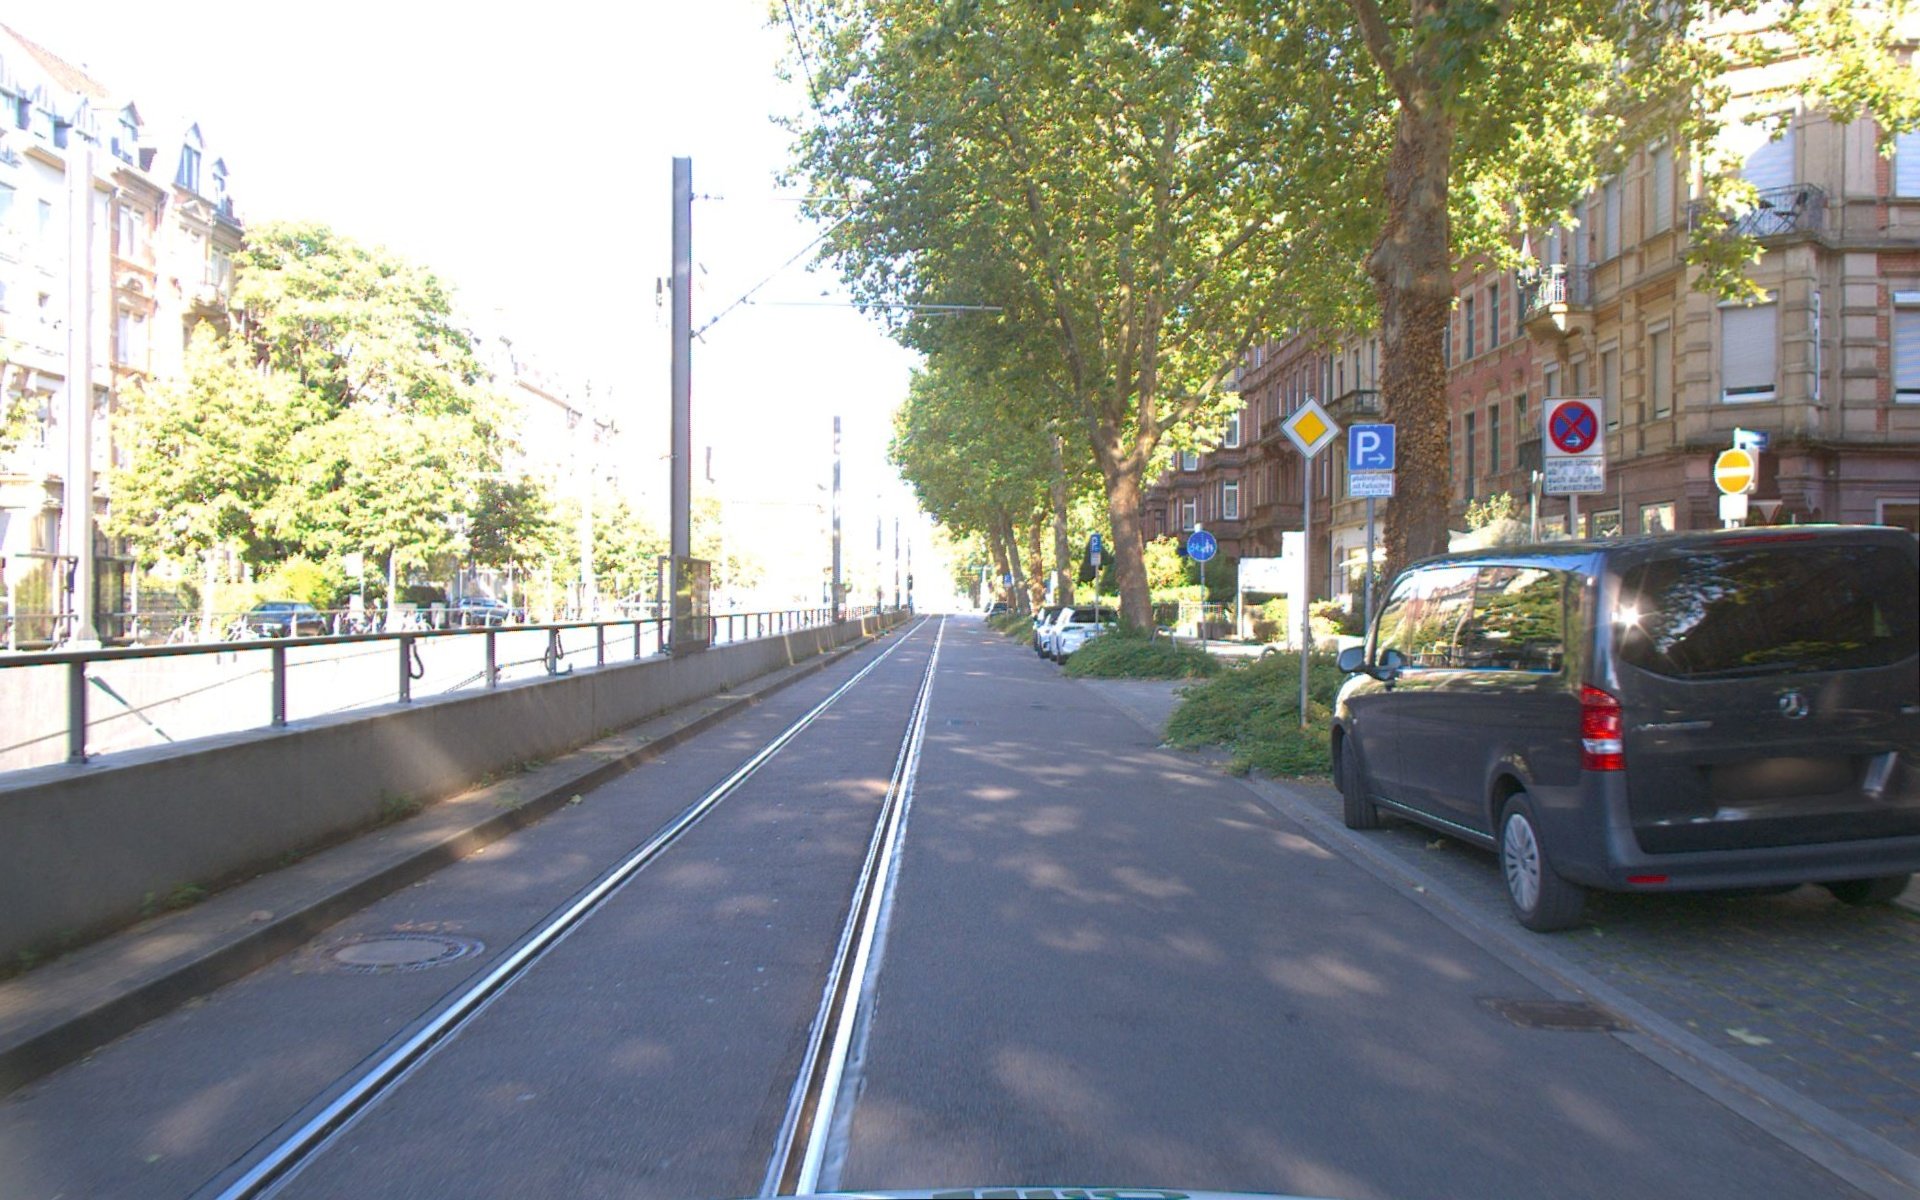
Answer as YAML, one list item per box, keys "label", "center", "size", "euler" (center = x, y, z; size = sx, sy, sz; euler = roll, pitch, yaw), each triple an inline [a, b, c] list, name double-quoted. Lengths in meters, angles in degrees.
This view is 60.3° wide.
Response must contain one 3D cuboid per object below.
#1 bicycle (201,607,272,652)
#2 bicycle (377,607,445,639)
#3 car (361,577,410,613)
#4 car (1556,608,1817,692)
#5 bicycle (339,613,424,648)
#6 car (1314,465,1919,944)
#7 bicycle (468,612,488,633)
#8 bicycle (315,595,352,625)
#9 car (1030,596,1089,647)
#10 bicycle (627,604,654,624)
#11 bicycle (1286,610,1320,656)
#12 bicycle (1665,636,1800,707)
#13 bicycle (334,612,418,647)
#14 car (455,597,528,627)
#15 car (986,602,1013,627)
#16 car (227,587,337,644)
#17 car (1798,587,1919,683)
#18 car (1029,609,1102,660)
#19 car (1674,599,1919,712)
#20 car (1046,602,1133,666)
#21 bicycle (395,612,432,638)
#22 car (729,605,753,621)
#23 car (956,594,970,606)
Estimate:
- label: "bicycle"
  center: [-20.865, 0.854, 47.713]
  size: [1.771, 1.199, 0.562]
  euler: [3, 0, 2]
- label: "bicycle"
  center: [-21.065, 0.874, 63.481]
  size: [2.344, 1.117, 0.551]
  euler: [3, 0, -31]
- label: "car"
  center: [-31.912, -0.285, 92.007]
  size: [1.959, 1.881, 4.467]
  euler: [3, 0, -12]
- label: "car"
  center: [12.950, 0.878, 29.614]
  size: [3.908, 1.388, 1.742]
  euler: [0, 1, -4]
- label: "bicycle"
  center: [-20.617, 1.094, 59.015]
  size: [2.752, 1.117, 0.635]
  euler: [3, 0, -34]
- label: "car"
  center: [3.688, 0.426, 9.730]
  size: [1.953, 2.049, 5.200]
  euler: [0, 0, -2]
- label: "bicycle"
  center: [-24.467, 1.151, 83.964]
  size: [0.449, 1.023, 1.923]
  euler: [3, -3, -31]
- label: "bicycle"
  center: [-24.524, 0.391, 64.782]
  size: [0.544, 1.117, 2.375]
  euler: [3, 0, -1]
- label: "car"
  center: [3.216, 0.683, 54.250]
  size: [1.696, 1.563, 4.805]
  euler: [1, 0, 1]
- label: "bicycle"
  center: [-21.374, 0.938, 110.725]
  size: [1.694, 1.302, 0.600]
  euler: [0, -1, 5]
- label: "bicycle"
  center: [9.057, 0.855, 43.692]
  size: [0.465, 1.163, 1.896]
  euler: [-2, 0, -1]
- label: "bicycle"
  center: [10.587, 0.971, 22.664]
  size: [1.661, 0.933, 0.601]
  euler: [0, 0, -12]
- label: "bicycle"
  center: [-21.017, 1.073, 59.574]
  size: [2.752, 1.117, 0.635]
  euler: [3, 0, -34]
- label: "car"
  center: [-27.616, 0.713, 97.579]
  size: [3.914, 1.653, 1.821]
  euler: [2, 0, -10]
- label: "car"
  center: [2.655, 0.955, 111.757]
  size: [1.583, 1.615, 4.416]
  euler: [-1, 0, -1]
- label: "car"
  center: [-20.773, 0.456, 50.866]
  size: [1.796, 1.612, 3.998]
  euler: [3, 0, -3]
- label: "car"
  center: [17.588, 0.622, 30.007]
  size: [3.815, 1.676, 1.893]
  euler: [0, 0, 1]
- label: "car"
  center: [2.962, 0.960, 47.262]
  size: [1.792, 1.350, 3.999]
  euler: [1, 0, 0]
- label: "car"
  center: [13.184, 0.800, 24.400]
  size: [4.513, 1.575, 1.920]
  euler: [1, 0, -6]
- label: "car"
  center: [3.222, 0.828, 42.044]
  size: [1.766, 1.503, 4.645]
  euler: [1, 0, -1]
- label: "bicycle"
  center: [-21.172, 0.979, 64.094]
  size: [1.252, 0.921, 0.533]
  euler: [3, 0, -31]
- label: "car"
  center: [-22.204, 1.317, 167.867]
  size: [1.680, 1.582, 4.510]
  euler: [3, 0, 1]
- label: "car"
  center: [0.387, -0.007, 209.520]
  size: [1.710, 1.487, 3.643]
  euler: [3, 0, -1]
